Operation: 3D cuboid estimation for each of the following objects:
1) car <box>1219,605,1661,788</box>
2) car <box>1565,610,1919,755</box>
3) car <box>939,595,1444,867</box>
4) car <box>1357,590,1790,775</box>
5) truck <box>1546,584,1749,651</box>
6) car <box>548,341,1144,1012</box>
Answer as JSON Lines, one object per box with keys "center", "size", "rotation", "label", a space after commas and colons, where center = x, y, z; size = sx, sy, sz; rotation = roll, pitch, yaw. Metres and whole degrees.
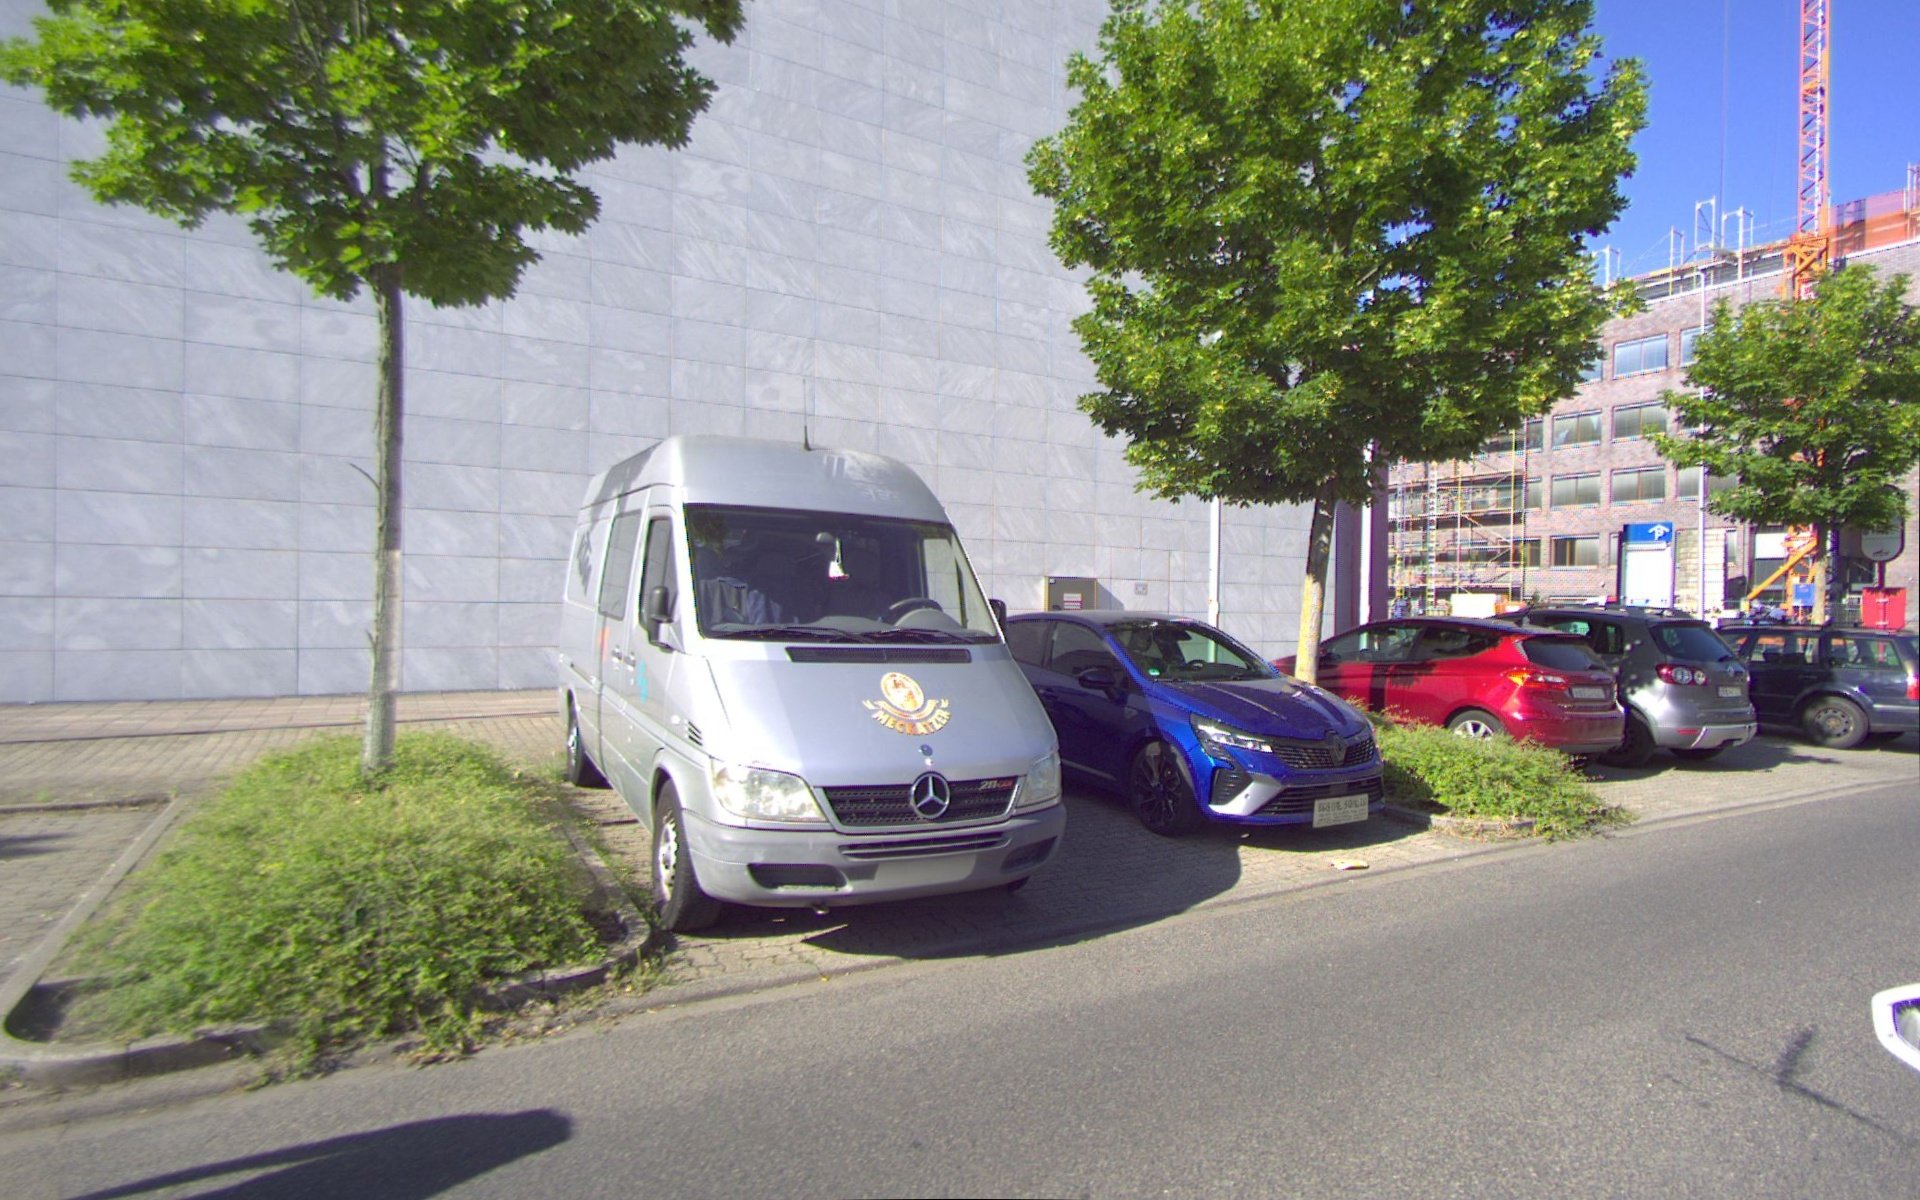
{"center": [4.866, 0.857, 10.780], "size": [1.833, 1.537, 3.969], "rotation": [1, -1, -29], "label": "car"}
{"center": [10.925, 0.981, 13.768], "size": [1.849, 1.513, 4.106], "rotation": [0, 2, -33], "label": "car"}
{"center": [1.515, 0.777, 8.003], "size": [1.763, 1.505, 3.916], "rotation": [1, 1, -28], "label": "car"}
{"center": [6.936, 0.800, 11.842], "size": [1.804, 1.686, 3.972], "rotation": [1, 1, -27], "label": "car"}
{"center": [28.634, 0.687, 42.197], "size": [2.252, 2.581, 6.830], "rotation": [0, 0, -28], "label": "truck"}
{"center": [-1.340, 0.219, 6.568], "size": [1.963, 2.442, 5.528], "rotation": [1, 1, -28], "label": "car"}
